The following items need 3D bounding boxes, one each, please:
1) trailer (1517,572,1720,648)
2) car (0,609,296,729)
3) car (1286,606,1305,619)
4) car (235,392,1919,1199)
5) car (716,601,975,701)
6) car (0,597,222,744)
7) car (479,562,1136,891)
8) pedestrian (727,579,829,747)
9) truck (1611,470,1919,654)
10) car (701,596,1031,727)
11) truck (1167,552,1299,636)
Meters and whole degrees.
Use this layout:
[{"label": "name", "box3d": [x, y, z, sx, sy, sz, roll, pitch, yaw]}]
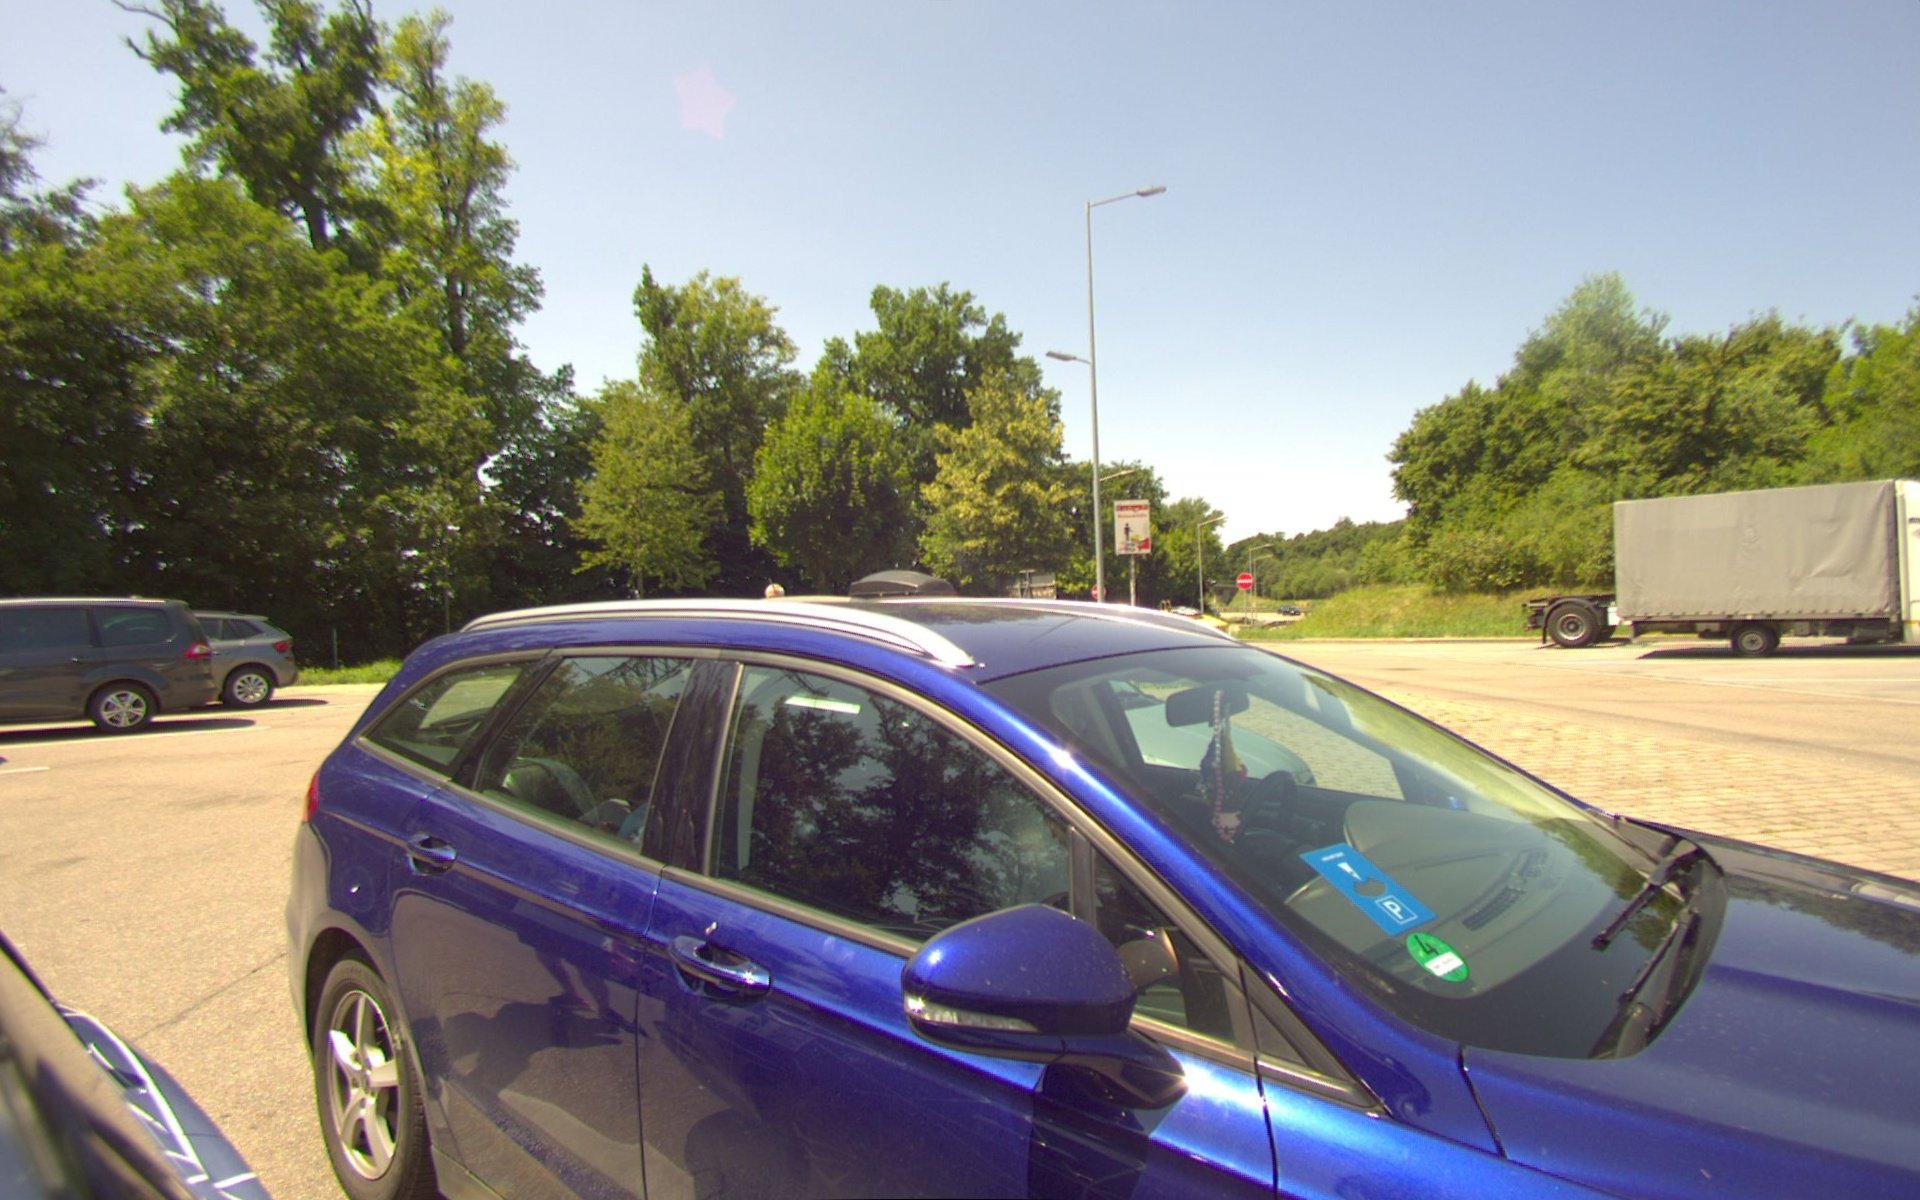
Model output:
[{"label": "trailer", "box3d": [15.764, 0.274, 24.350, 3.900, 1.674, 1.456, -2, -1, 41]}, {"label": "car", "box3d": [-12.735, 0.980, 15.631, 3.910, 1.598, 1.782, -1, -1, -43]}, {"label": "car", "box3d": [53.297, 1.977, 160.750, 2.013, 1.874, 3.991, -2, -1, 7]}, {"label": "car", "box3d": [0.215, 0.636, 2.123, 4.466, 1.476, 1.756, -3, -1, 40]}, {"label": "car", "box3d": [-2.036, 0.834, 17.108, 4.466, 1.476, 1.756, -3, -1, 40]}, {"label": "car", "box3d": [-11.707, 0.855, 12.580, 3.910, 1.701, 1.782, -1, -1, -43]}, {"label": "car", "box3d": [-1.257, 0.636, 6.668, 4.466, 1.476, 1.756, -3, -1, 40]}, {"label": "pedestrian", "box3d": [-1.844, 0.617, 10.250, 0.759, 1.614, 0.663, -3, -1, 41]}, {"label": "truck", "box3d": [16.724, -0.642, 18.866, 7.348, 3.152, 2.339, -3, -2, 41]}, {"label": "car", "box3d": [-1.384, 0.762, 13.554, 4.466, 1.476, 1.756, -3, -1, 40]}, {"label": "truck", "box3d": [12.841, -0.231, 47.613, 5.782, 3.720, 1.987, -2, -1, 20]}]
